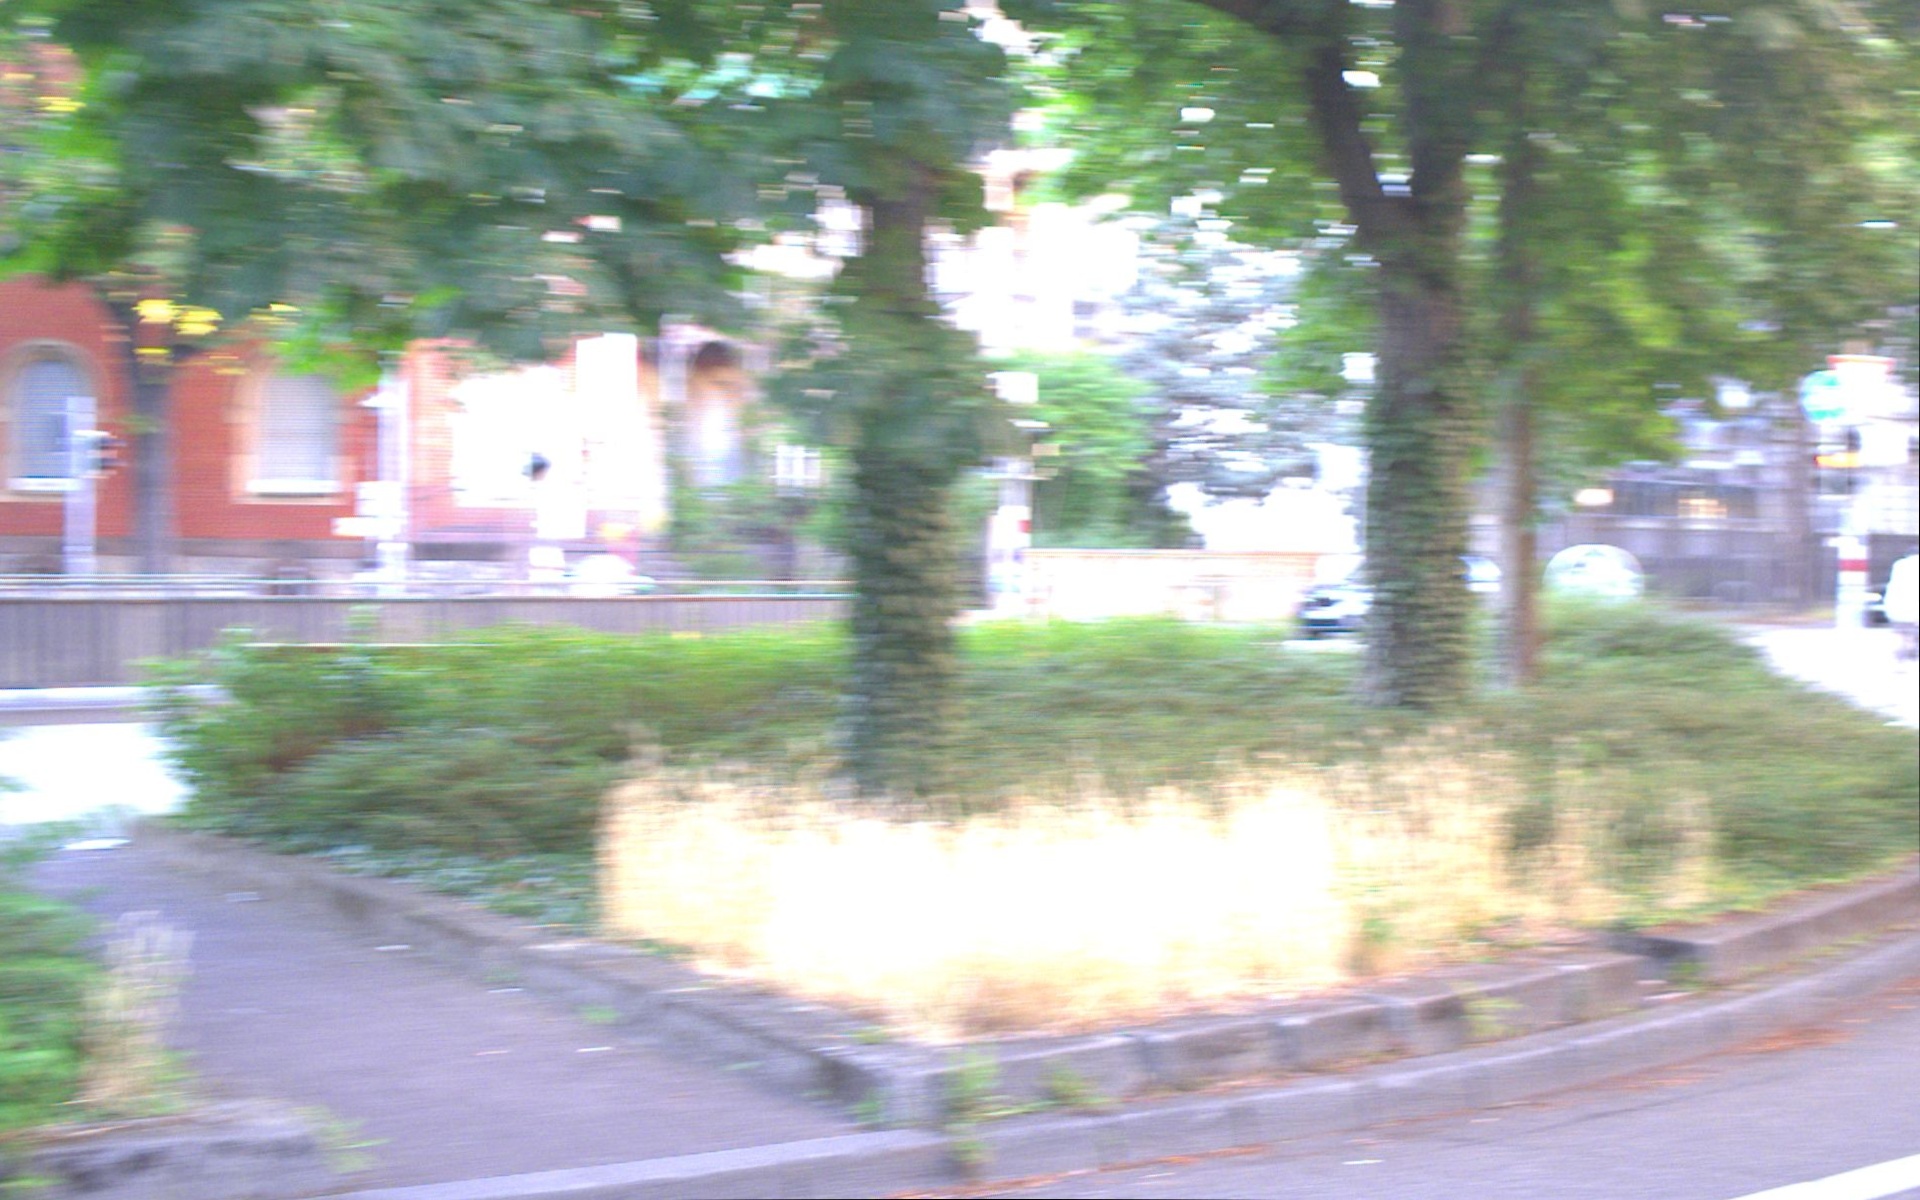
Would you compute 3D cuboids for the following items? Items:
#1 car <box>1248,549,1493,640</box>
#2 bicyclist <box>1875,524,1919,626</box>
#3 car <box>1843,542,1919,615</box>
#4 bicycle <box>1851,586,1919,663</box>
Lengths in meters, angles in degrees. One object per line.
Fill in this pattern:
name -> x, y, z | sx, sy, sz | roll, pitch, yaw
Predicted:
car -> 7.173, -0.115, 59.763 | 1.949, 1.504, 4.408 | 2, 1, 44
bicyclist -> 13.387, -0.353, 48.175 | 0.862, 1.406, 0.700 | 1, 1, -8
car -> 21.169, -0.470, 74.377 | 1.949, 1.504, 4.620 | 2, 1, 44
bicycle -> 13.487, 0.342, 48.200 | 1.787, 1.051, 0.700 | 1, 1, -9
